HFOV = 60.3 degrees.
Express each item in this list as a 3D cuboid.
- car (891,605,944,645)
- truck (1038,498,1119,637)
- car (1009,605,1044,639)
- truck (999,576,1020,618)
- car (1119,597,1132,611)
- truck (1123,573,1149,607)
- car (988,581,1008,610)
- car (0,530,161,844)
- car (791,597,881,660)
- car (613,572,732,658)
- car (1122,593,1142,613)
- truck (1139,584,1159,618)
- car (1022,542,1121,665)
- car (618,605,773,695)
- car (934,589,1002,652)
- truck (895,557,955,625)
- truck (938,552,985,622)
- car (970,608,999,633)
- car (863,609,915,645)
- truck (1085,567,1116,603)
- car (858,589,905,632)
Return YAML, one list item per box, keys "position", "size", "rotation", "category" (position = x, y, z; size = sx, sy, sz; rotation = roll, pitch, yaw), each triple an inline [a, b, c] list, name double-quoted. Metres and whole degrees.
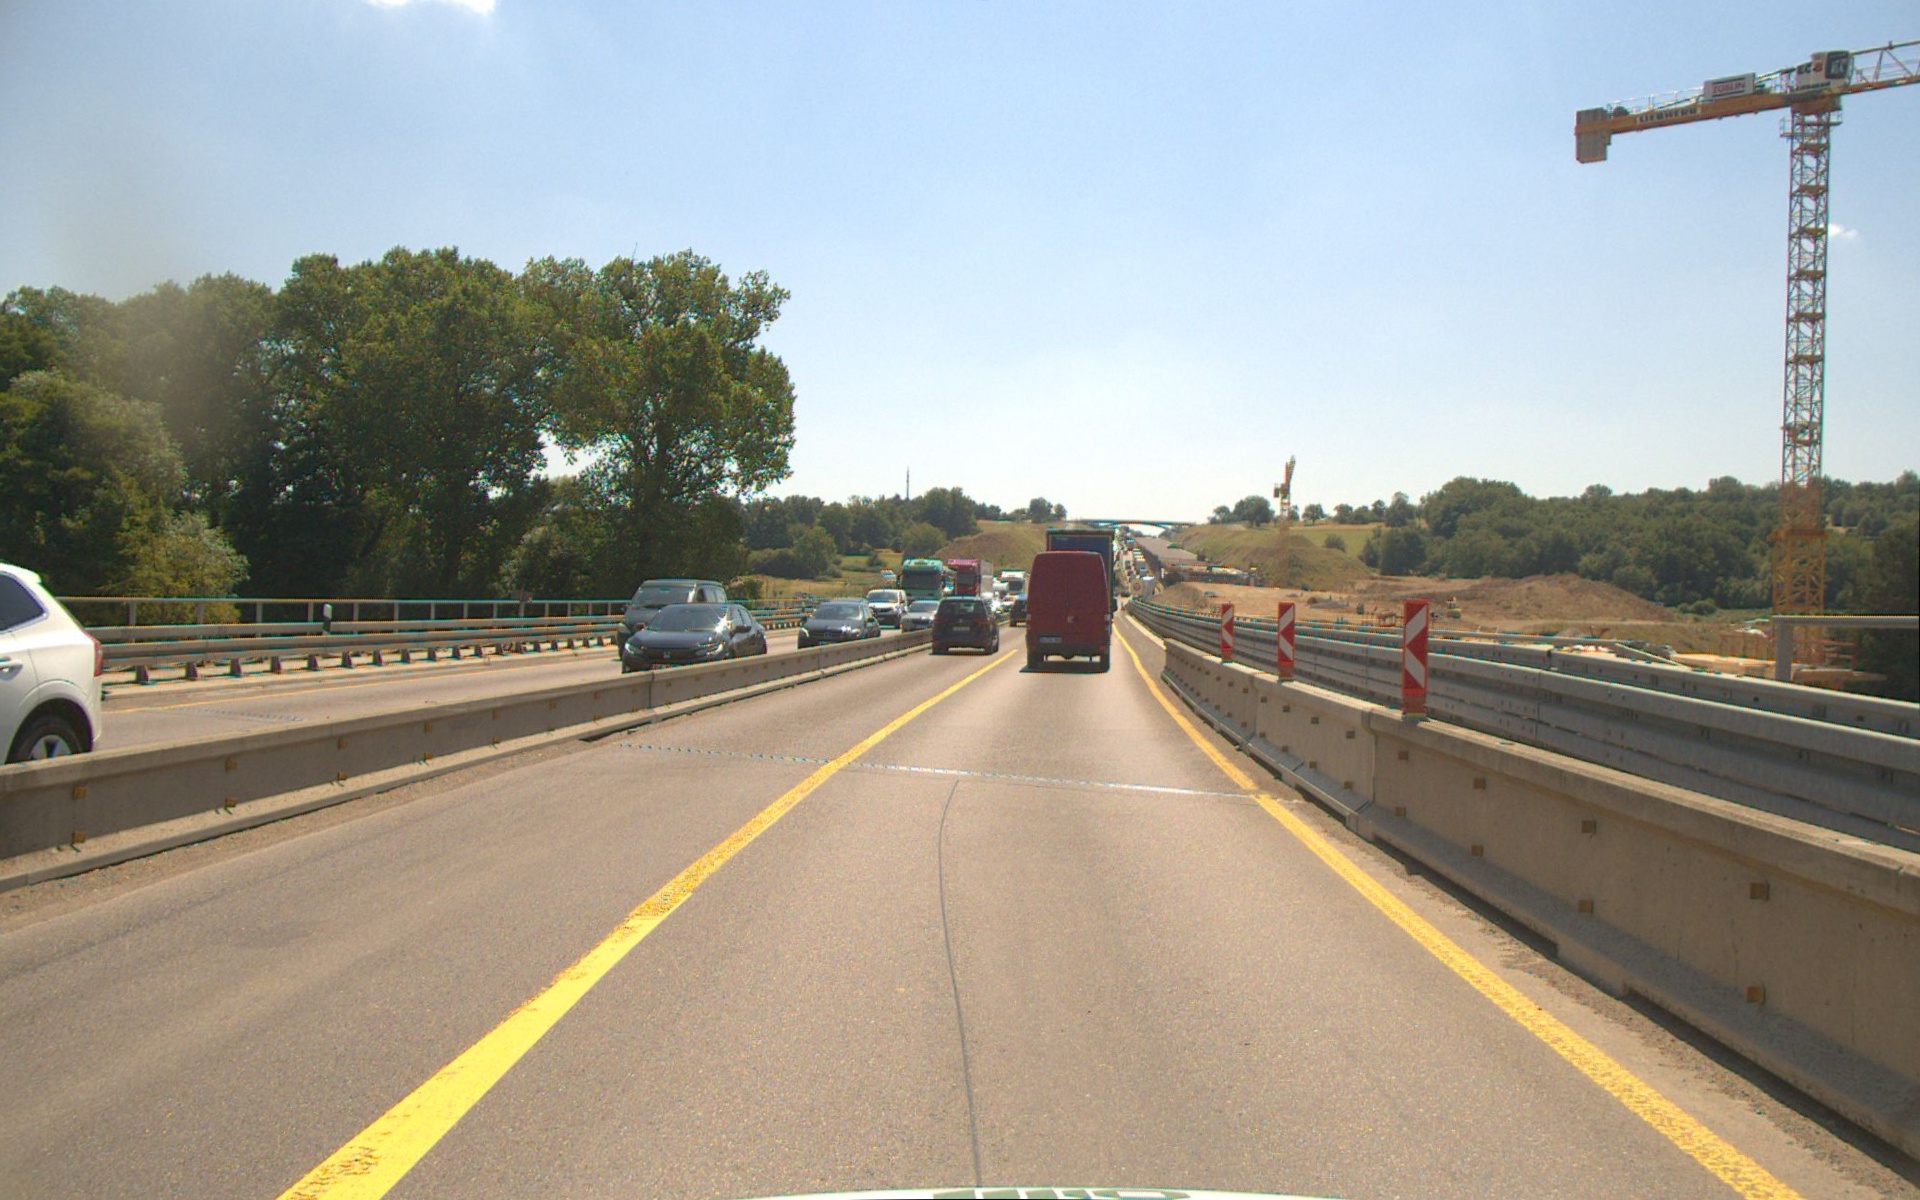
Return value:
- position: [-1.724, 1.014, 68.100]
  size: [1.782, 1.522, 4.135]
  rotation: [2, 0, 3]
  category: "car"
- position: [4.514, -1.169, 63.961]
  size: [2.883, 5.032, 6.743]
  rotation: [1, 0, 3]
  category: "truck"
- position: [3.691, 1.195, 91.634]
  size: [1.782, 1.726, 4.135]
  rotation: [2, 0, 3]
  category: "car"
- position: [5.428, -0.257, 179.664]
  size: [1.951, 4.076, 6.484]
  rotation: [1, -4, 4]
  category: "truck"
- position: [23.051, 0.542, 230.067]
  size: [1.584, 1.868, 3.891]
  rotation: [2, -1, 3]
  category: "car"
- position: [17.606, -0.997, 165.744]
  size: [2.243, 3.252, 6.485]
  rotation: [1, 0, 3]
  category: "truck"
- position: [3.623, -0.431, 156.864]
  size: [1.584, 2.648, 3.891]
  rotation: [2, 0, 4]
  category: "car"
- position: [-6.056, 0.465, 8.213]
  size: [1.782, 1.675, 4.572]
  rotation: [2, 2, 2]
  category: "car"
- position: [-3.246, 0.725, 44.128]
  size: [1.720, 1.522, 4.442]
  rotation: [2, 0, 4]
  category: "car"
- position: [-7.180, 0.369, 41.788]
  size: [1.782, 1.977, 5.066]
  rotation: [2, 0, 3]
  category: "car"
- position: [15.172, 0.249, 146.129]
  size: [1.584, 1.729, 3.891]
  rotation: [2, 0, 4]
  category: "car"
- position: [24.214, 0.161, 211.578]
  size: [2.243, 3.805, 6.484]
  rotation: [1, -4, 4]
  category: "truck"
- position: [2.641, 0.164, 39.641]
  size: [2.105, 2.657, 5.440]
  rotation: [2, -2, 3]
  category: "car"
- position: [-4.478, 0.804, 28.626]
  size: [1.634, 1.389, 4.442]
  rotation: [2, 0, 4]
  category: "car"
- position: [0.283, 0.567, 49.029]
  size: [1.697, 1.664, 4.392]
  rotation: [2, 1, 4]
  category: "car"
- position: [-2.124, -0.536, 105.352]
  size: [2.750, 4.033, 12.139]
  rotation: [2, 0, 3]
  category: "truck"
- position: [0.222, -0.965, 127.116]
  size: [2.750, 5.025, 12.139]
  rotation: [2, 0, 3]
  category: "truck"
- position: [1.576, 1.274, 105.202]
  size: [1.674, 1.522, 3.603]
  rotation: [2, 0, 3]
  category: "car"
- position: [-3.201, 1.192, 75.263]
  size: [1.782, 1.522, 5.175]
  rotation: [2, 0, 3]
  category: "car"
- position: [14.544, -1.496, 171.608]
  size: [3.116, 3.030, 8.902]
  rotation: [1, -4, 4]
  category: "truck"
- position: [-3.886, 0.496, 82.236]
  size: [1.952, 2.049, 4.001]
  rotation: [1, 0, 2]
  category: "car"
